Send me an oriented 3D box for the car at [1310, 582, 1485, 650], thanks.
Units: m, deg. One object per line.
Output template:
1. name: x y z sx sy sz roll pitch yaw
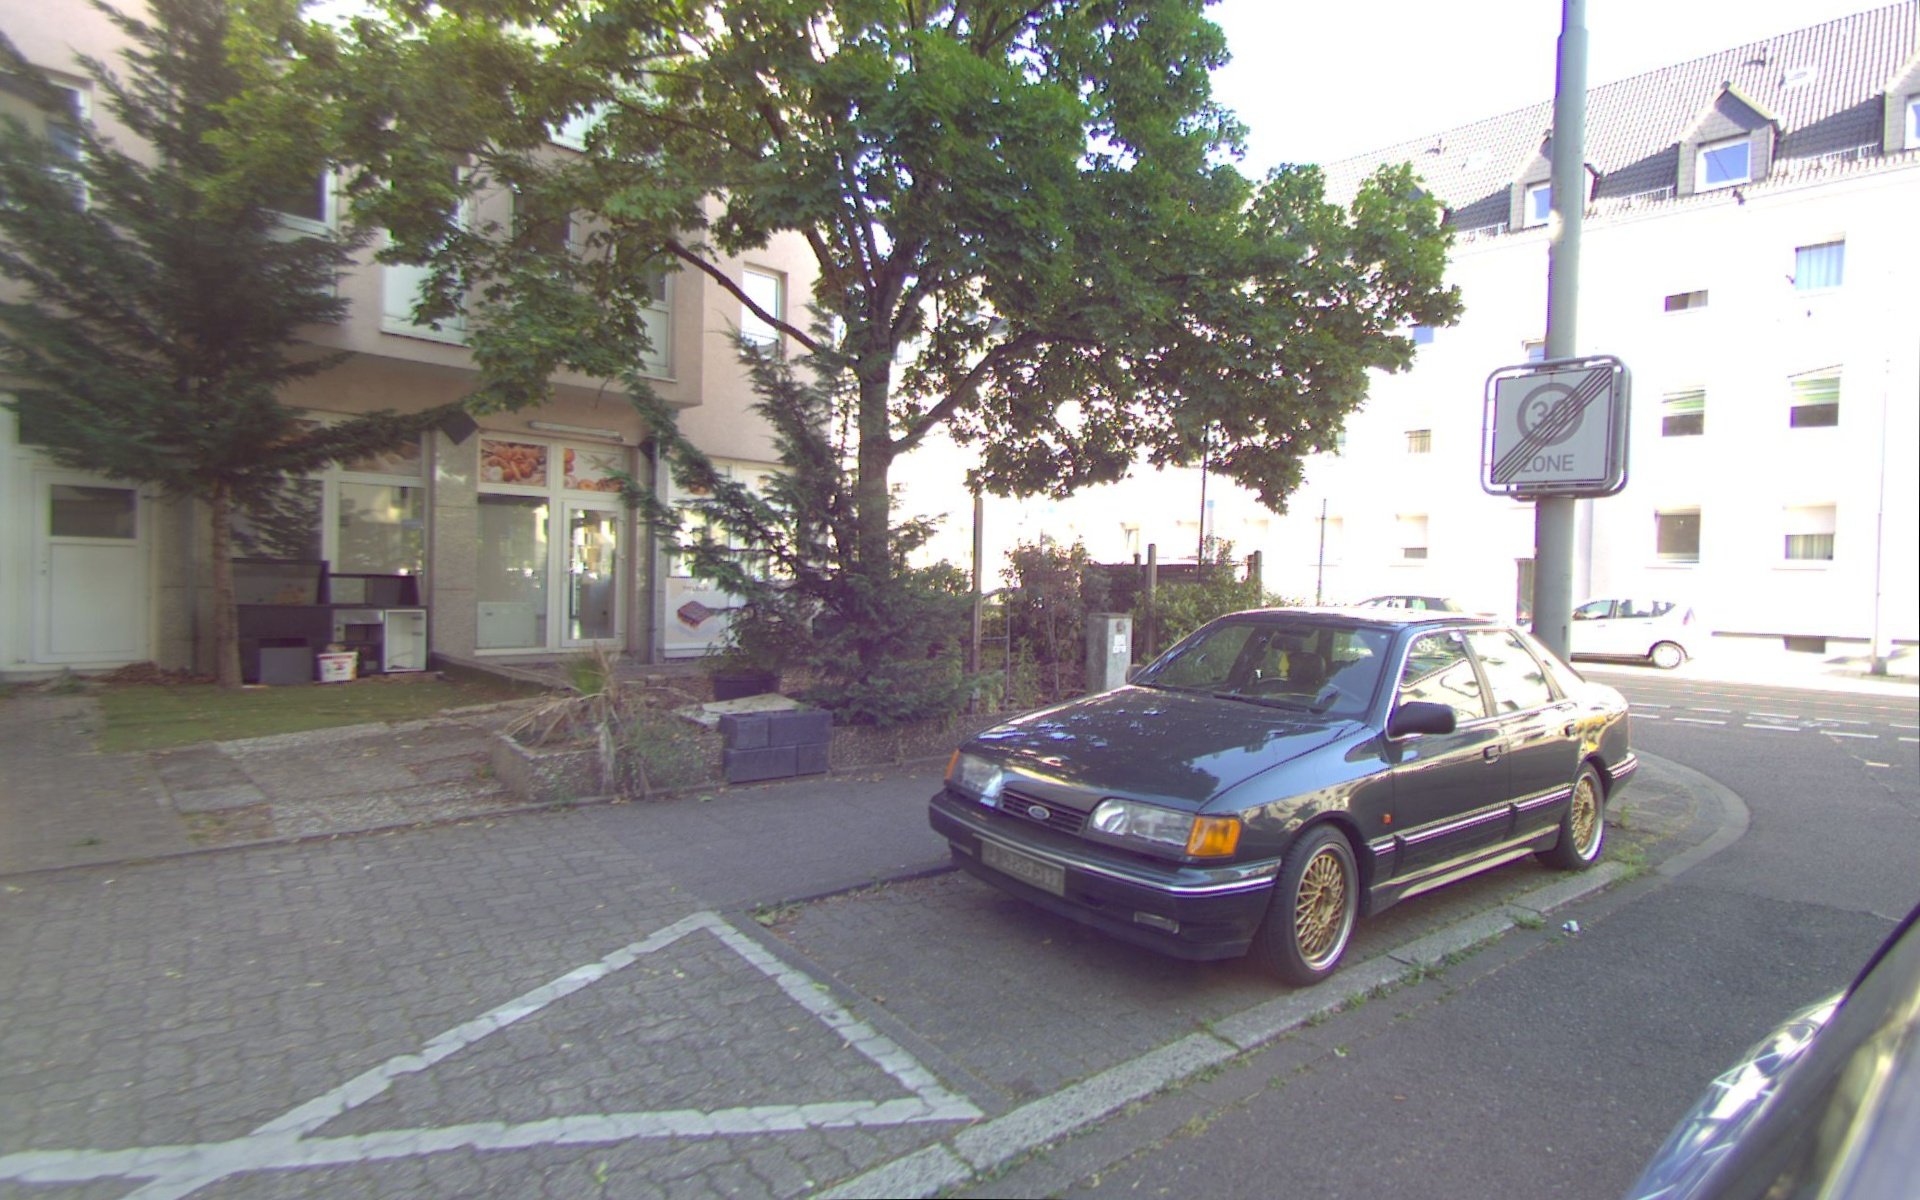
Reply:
1. car: 11.564 0.356 26.949 1.571 1.556 3.998 -3 4 -43

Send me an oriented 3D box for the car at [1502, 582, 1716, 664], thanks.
1. car: 15.004 0.456 23.537 1.732 1.589 3.895 -4 5 -43

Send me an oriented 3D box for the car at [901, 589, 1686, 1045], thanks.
1. car: 2.024 0.683 5.314 4.487 1.405 1.713 0 2 -38

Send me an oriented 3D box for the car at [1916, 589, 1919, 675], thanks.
1. car: 20.268 0.671 18.136 1.658 1.590 4.497 -2 3 -45
